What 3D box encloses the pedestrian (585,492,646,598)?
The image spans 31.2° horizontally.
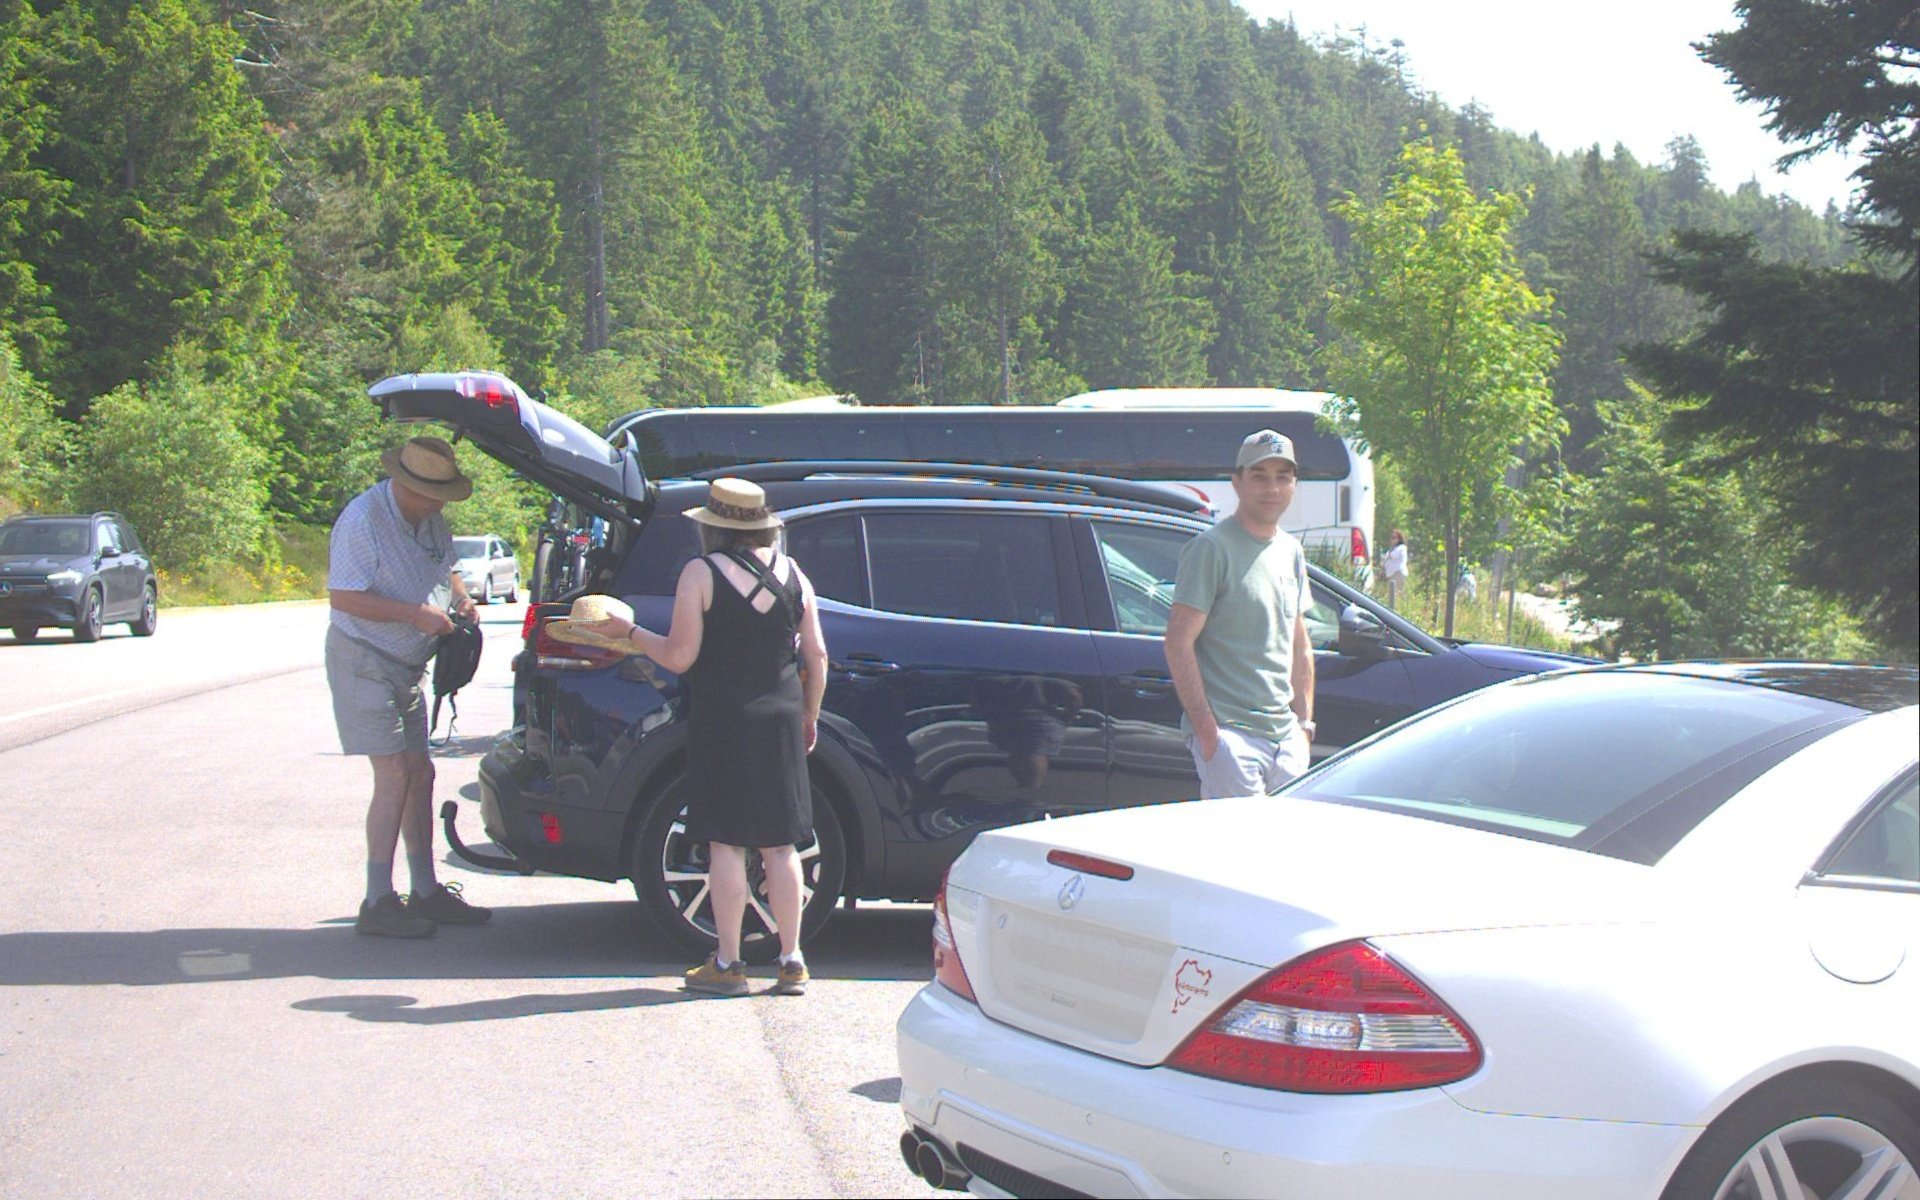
[{"bbox_3d":[-5.214,-0.839,52.116,0.770,1.579,0.772,-1,1,4],"label":"pedestrian"}]

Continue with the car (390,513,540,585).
[{"bbox_3d":[-10.386,-1.096,72.448,1.880,1.469,4.713,0,1,8],"label":"car"}]

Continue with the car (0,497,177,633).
[{"bbox_3d":[-11.686,-0.487,44.550,1.993,1.641,4.568,-1,2,0],"label":"car"}]

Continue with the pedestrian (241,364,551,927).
[{"bbox_3d":[-1.955,0.126,11.948,0.736,1.864,0.757,3,4,27],"label":"pedestrian"}]

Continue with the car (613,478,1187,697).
[{"bbox_3d":[-0.479,-0.121,26.495,4.243,1.548,1.838,-1,1,-3],"label":"car"}]

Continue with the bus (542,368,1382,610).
[{"bbox_3d":[0.116,-1.743,54.960,13.097,3.520,3.043,-1,1,8],"label":"bus"}]

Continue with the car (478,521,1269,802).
[{"bbox_3d":[-0.532,0.316,18.701,4.080,1.372,1.703,1,1,-9],"label":"car"}]

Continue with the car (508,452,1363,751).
[{"bbox_3d":[-0.147,-0.018,20.934,4.949,1.690,1.945,-1,1,-1],"label":"car"}]

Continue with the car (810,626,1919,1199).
[{"bbox_3d":[2.089,0.789,6.769,4.397,1.291,1.756,2,2,-26],"label":"car"}]

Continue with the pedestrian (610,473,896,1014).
[{"bbox_3d":[-0.644,0.427,10.602,0.714,1.607,0.537,1,0,-23],"label":"pedestrian"}]

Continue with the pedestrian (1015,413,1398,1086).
[{"bbox_3d":[0.687,0.395,9.673,0.746,1.794,0.736,1,0,-35],"label":"pedestrian"}]

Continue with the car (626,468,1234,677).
[{"bbox_3d":[-0.287,-0.261,29.620,5.033,1.645,2.048,-1,1,-3],"label":"car"}]

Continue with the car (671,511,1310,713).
[{"bbox_3d":[0.170,0.057,23.839,4.243,1.264,1.838,-1,1,-3],"label":"car"}]

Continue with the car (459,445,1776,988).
[{"bbox_3d":[0.446,0.394,12.258,4.343,1.620,1.870,3,0,-8],"label":"car"}]
